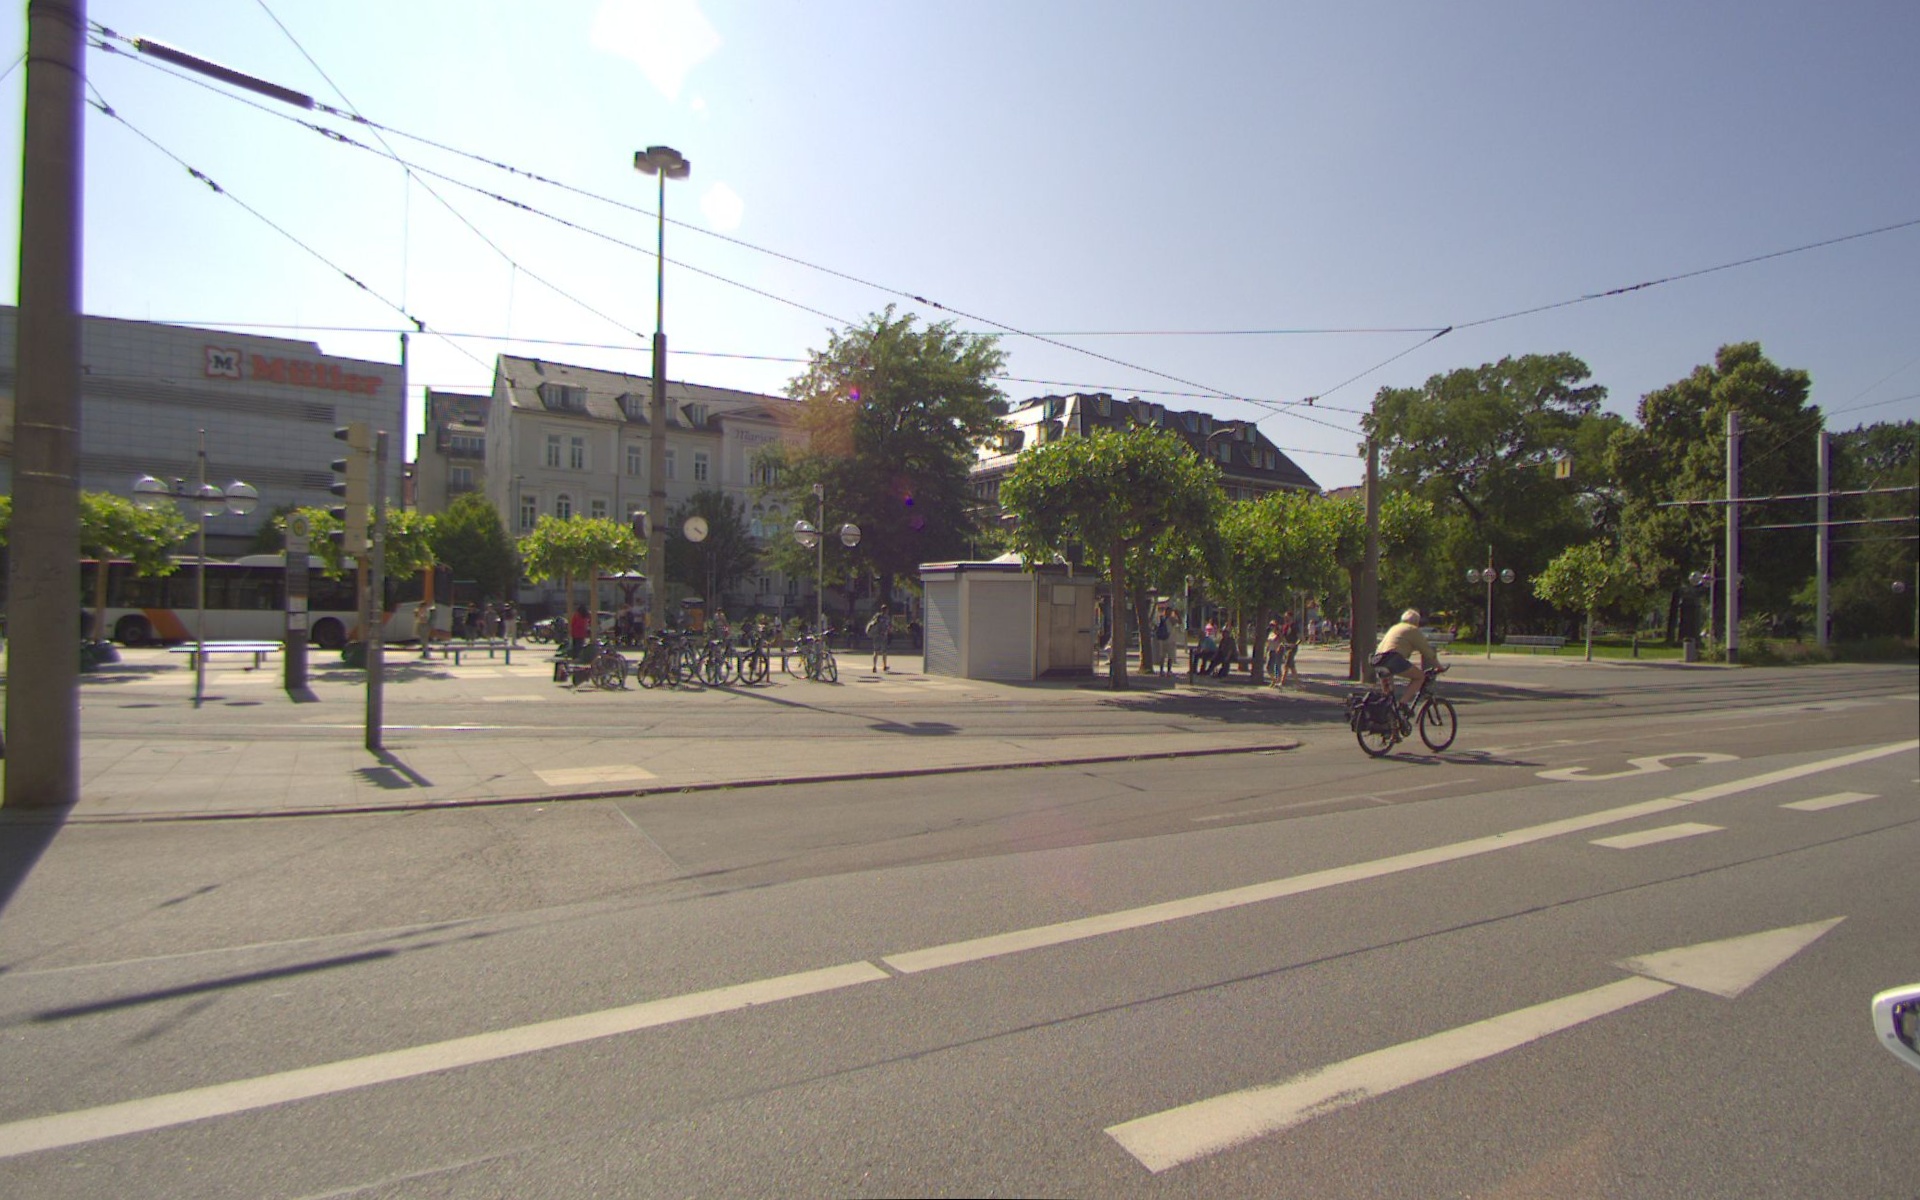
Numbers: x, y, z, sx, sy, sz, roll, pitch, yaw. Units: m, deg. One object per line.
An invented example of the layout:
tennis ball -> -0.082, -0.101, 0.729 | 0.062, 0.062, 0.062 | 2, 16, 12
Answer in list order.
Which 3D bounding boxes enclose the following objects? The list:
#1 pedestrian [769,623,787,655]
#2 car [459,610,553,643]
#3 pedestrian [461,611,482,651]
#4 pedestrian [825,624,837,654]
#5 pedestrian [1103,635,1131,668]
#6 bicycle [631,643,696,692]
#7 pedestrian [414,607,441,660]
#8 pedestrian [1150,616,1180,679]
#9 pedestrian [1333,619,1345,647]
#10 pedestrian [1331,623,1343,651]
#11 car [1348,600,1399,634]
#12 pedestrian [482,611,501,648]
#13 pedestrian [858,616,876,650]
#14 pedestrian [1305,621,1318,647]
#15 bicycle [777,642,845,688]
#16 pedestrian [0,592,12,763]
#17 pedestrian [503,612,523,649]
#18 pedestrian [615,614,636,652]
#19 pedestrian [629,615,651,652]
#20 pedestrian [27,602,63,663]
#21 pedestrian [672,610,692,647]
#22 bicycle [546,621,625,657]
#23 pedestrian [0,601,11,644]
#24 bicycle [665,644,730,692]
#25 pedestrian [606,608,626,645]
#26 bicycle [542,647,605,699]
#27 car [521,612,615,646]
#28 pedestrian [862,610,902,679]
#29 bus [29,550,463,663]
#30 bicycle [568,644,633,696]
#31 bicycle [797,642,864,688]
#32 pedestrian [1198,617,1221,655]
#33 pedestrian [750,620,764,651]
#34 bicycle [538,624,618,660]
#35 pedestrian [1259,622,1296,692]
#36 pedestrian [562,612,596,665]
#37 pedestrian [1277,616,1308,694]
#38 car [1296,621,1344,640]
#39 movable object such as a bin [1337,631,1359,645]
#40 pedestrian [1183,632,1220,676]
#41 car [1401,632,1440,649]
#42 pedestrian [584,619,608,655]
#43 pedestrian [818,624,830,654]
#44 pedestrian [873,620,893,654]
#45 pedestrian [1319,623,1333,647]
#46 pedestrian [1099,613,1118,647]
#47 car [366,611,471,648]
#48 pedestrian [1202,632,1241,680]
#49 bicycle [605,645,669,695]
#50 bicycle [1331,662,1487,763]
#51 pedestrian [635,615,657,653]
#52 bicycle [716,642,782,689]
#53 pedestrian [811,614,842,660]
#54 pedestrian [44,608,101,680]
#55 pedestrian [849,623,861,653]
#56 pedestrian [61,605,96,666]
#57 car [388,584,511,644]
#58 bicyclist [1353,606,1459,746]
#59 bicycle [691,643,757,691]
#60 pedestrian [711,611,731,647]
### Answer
pedestrian -> -7.342, 1.562, 40.488 | 0.573, 1.279, 0.620 | 0, -2, -21
car -> -22.526, 1.298, 49.865 | 3.962, 1.528, 1.743 | 1, 1, -36
pedestrian -> -18.164, 1.154, 37.355 | 0.672, 1.484, 0.621 | 0, -2, -27
pedestrian -> -5.537, 1.659, 43.080 | 0.445, 1.279, 0.517 | -1, -2, -14
pedestrian -> 4.964, 1.616, 31.784 | 0.573, 1.014, 0.632 | 0, -2, -27
bicycle -> -6.288, 1.404, 21.246 | 0.542, 0.868, 1.847 | 1, 2, -42
pedestrian -> -15.166, 0.955, 28.602 | 0.616, 1.484, 0.677 | 0, -2, -24
pedestrian -> 5.450, 1.265, 26.709 | 0.566, 1.630, 0.602 | -2, -2, 31
pedestrian -> 22.695, 1.985, 60.103 | 0.460, 1.630, 0.449 | 0, -2, -30
pedestrian -> 22.843, 2.244, 60.835 | 0.491, 1.630, 0.410 | 1, -3, -39
car -> 43.597, 1.814, 105.896 | 5.358, 3.361, 2.115 | 1, 1, -31
pedestrian -> -19.140, 1.221, 41.060 | 0.672, 1.484, 0.621 | 0, -2, -27
pedestrian -> -4.029, 1.431, 43.624 | 0.669, 1.485, 0.623 | 1, -1, -17
pedestrian -> 22.455, 2.150, 64.100 | 0.615, 1.630, 0.488 | 1, -3, -40
bicycle -> -3.403, 1.461, 22.796 | 0.577, 0.881, 1.847 | 1, 1, -42
pedestrian -> -9.866, 0.755, 9.895 | 0.675, 1.680, 0.885 | 1, -1, -39
pedestrian -> -17.863, 1.218, 40.139 | 0.578, 1.484, 0.559 | -3, -3, 41
pedestrian -> -13.239, 1.325, 39.776 | 0.673, 1.484, 0.619 | 0, -2, -33
pedestrian -> -12.981, 1.342, 40.744 | 0.674, 1.484, 0.619 | 0, -3, -37
pedestrian -> -22.764, 0.810, 24.981 | 0.671, 1.484, 0.621 | -3, -3, 44
pedestrian -> -11.482, 1.175, 41.446 | 0.671, 1.484, 0.621 | 0, -2, -26
bicycle -> -16.295, 1.690, 43.762 | 3.091, 1.397, 0.821 | 2, 1, 0
pedestrian -> -34.924, 0.818, 36.264 | 0.669, 1.569, 0.846 | -2, -2, 33
bicycle -> -5.659, 1.440, 21.583 | 0.542, 0.868, 1.847 | 1, 2, -42
pedestrian -> -14.216, 1.097, 41.481 | 0.620, 1.484, 0.577 | 1, -3, -42
bicycle -> -7.807, 1.440, 20.234 | 0.542, 0.868, 1.847 | 1, 2, -42
car -> -19.124, 1.423, 49.045 | 3.962, 1.528, 1.743 | 1, 1, -36
pedestrian -> -2.038, 1.159, 26.300 | 0.827, 1.751, 0.749 | 0, -2, -23
bus -> -24.634, 0.249, 35.479 | 12.240, 3.466, 3.060 | 2, 1, -11
bicycle -> -7.392, 1.419, 20.607 | 0.579, 0.883, 1.847 | 1, 1, -42
bicycle -> -3.009, 1.482, 23.224 | 0.577, 0.881, 1.847 | 1, 1, -42
pedestrian -> 11.364, 1.637, 45.808 | 0.697, 1.728, 0.673 | 1, -3, -31
pedestrian -> -8.613, 1.512, 42.577 | 0.447, 1.279, 0.515 | 0, -2, -25
bicycle -> -16.276, 1.771, 42.825 | 3.091, 1.397, 0.821 | 2, 1, 0
pedestrian -> 7.497, 1.341, 23.721 | 0.617, 1.630, 0.524 | 0, -2, -21
pedestrian -> -10.989, 1.107, 28.987 | 0.667, 1.484, 0.625 | -2, -2, 22
pedestrian -> 7.638, 1.250, 23.077 | 0.517, 1.756, 0.587 | -2, -2, 30
car -> 32.651, 2.756, 91.082 | 4.798, 1.685, 1.743 | 1, 1, -36
movable object such as a bin -> 22.864, 2.250, 59.243 | 0.790, 0.764, 0.903 | 0, -3, -30
pedestrian -> 6.767, 1.510, 28.159 | 0.745, 1.186, 0.670 | 0, -3, -36
car -> 45.169, 3.954, 98.598 | 3.962, 1.528, 1.743 | 1, 1, -36
pedestrian -> -15.101, 1.544, 41.665 | 0.735, 1.484, 0.782 | 0, -3, -35
pedestrian -> -5.861, 1.673, 43.300 | 0.445, 1.279, 0.517 | -1, -2, -15
pedestrian -> -3.344, 1.616, 43.667 | 0.671, 1.484, 0.621 | 0, -2, -26
pedestrian -> 23.140, 2.227, 63.542 | 0.655, 1.512, 0.521 | 1, -3, -38
pedestrian -> 7.640, 1.535, 51.634 | 0.612, 1.751, 0.737 | 1, -2, -31
car -> -24.411, 1.323, 45.296 | 3.962, 1.528, 1.743 | 1, 1, -36
pedestrian -> 7.027, 1.501, 26.964 | 0.745, 1.263, 0.670 | 0, -3, -36
bicycle -> -6.739, 1.441, 20.898 | 0.542, 0.868, 1.847 | 1, 2, -42
bicycle -> 5.537, 1.342, 12.372 | 1.852, 1.135, 0.814 | 1, -3, -30
pedestrian -> -12.530, 1.370, 40.024 | 0.674, 1.484, 0.619 | 0, -2, -35
bicycle -> -4.705, 1.440, 22.338 | 0.577, 0.881, 1.847 | 1, 1, -42
pedestrian -> -5.428, 1.501, 40.834 | 1.064, 1.817, 0.964 | 0, -2, -21
pedestrian -> -18.124, 0.897, 20.517 | 0.667, 1.437, 0.625 | -2, -2, 22
pedestrian -> -4.523, 1.624, 43.387 | 0.445, 1.279, 0.517 | -1, -2, -14
pedestrian -> -21.860, 0.873, 24.911 | 0.518, 1.484, 0.586 | -3, -3, 40
car -> -26.086, 0.721, 51.450 | 5.347, 2.926, 1.939 | 1, 1, -36
bicyclist -> 5.475, 0.897, 12.345 | 0.892, 1.643, 0.814 | 0, -1, -30
bicycle -> -5.153, 1.436, 21.858 | 0.542, 0.868, 1.847 | 1, 2, -42
pedestrian -> -9.959, 1.221, 41.823 | 0.671, 1.484, 0.621 | 0, -2, -26
